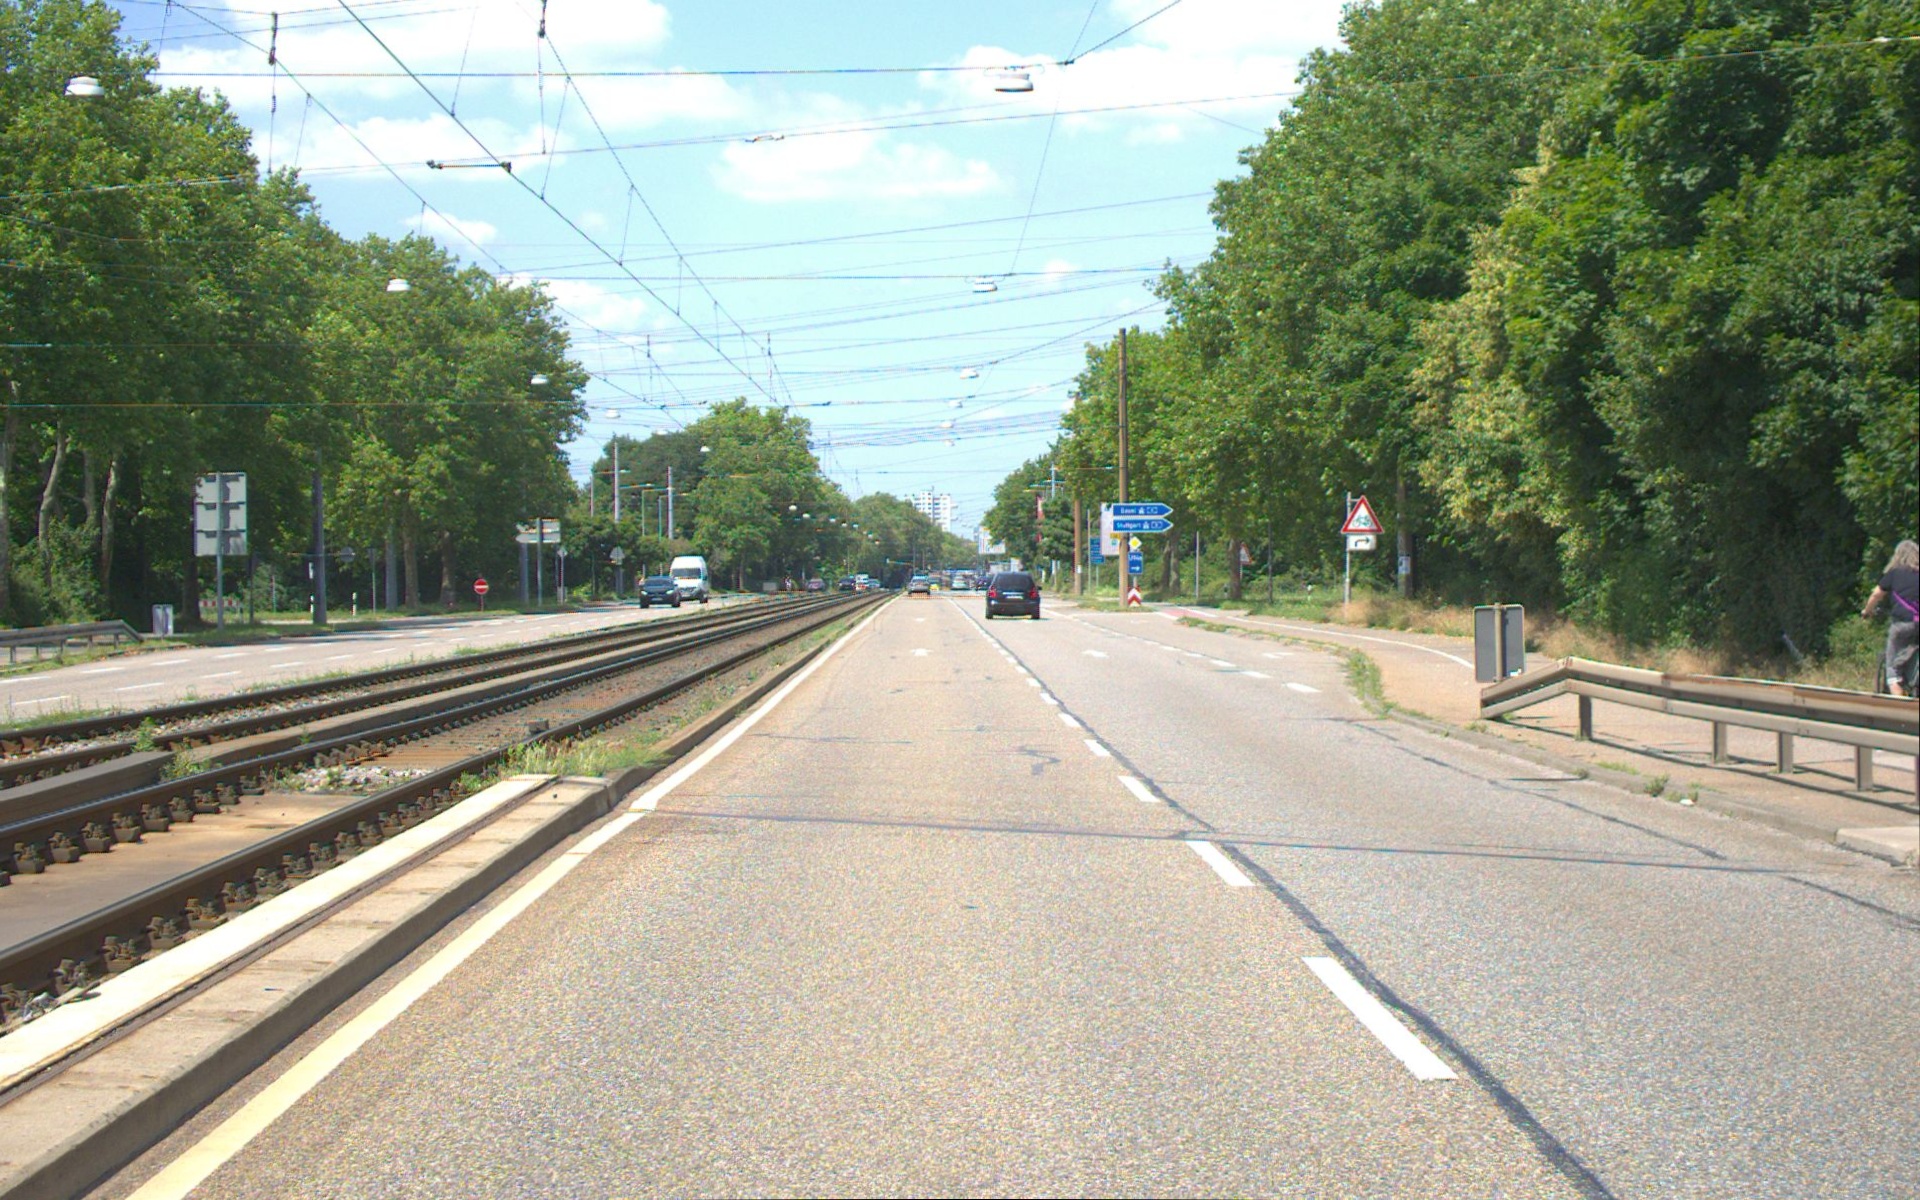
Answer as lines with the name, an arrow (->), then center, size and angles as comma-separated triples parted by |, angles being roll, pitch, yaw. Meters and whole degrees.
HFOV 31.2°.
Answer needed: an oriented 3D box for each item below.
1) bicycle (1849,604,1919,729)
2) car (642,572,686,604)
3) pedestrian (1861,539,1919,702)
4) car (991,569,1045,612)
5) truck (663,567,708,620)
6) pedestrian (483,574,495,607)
bicycle -> 8.164, 0.553, 29.513 | 0.559, 1.021, 1.848 | -1, 0, 0
car -> -15.010, -0.619, 174.578 | 1.817, 1.509, 4.428 | -1, 1, 0
pedestrian -> 8.174, 0.165, 29.428 | 0.628, 1.369, 1.050 | -1, 0, 0
car -> 1.911, -0.332, 114.058 | 1.586, 1.338, 3.273 | -1, 1, -2
truck -> -15.858, -0.386, 199.127 | 2.054, 2.929, 6.319 | -2, 1, 0
pedestrian -> -22.453, -0.449, 163.819 | 0.513, 1.546, 0.704 | -1, 0, -6
